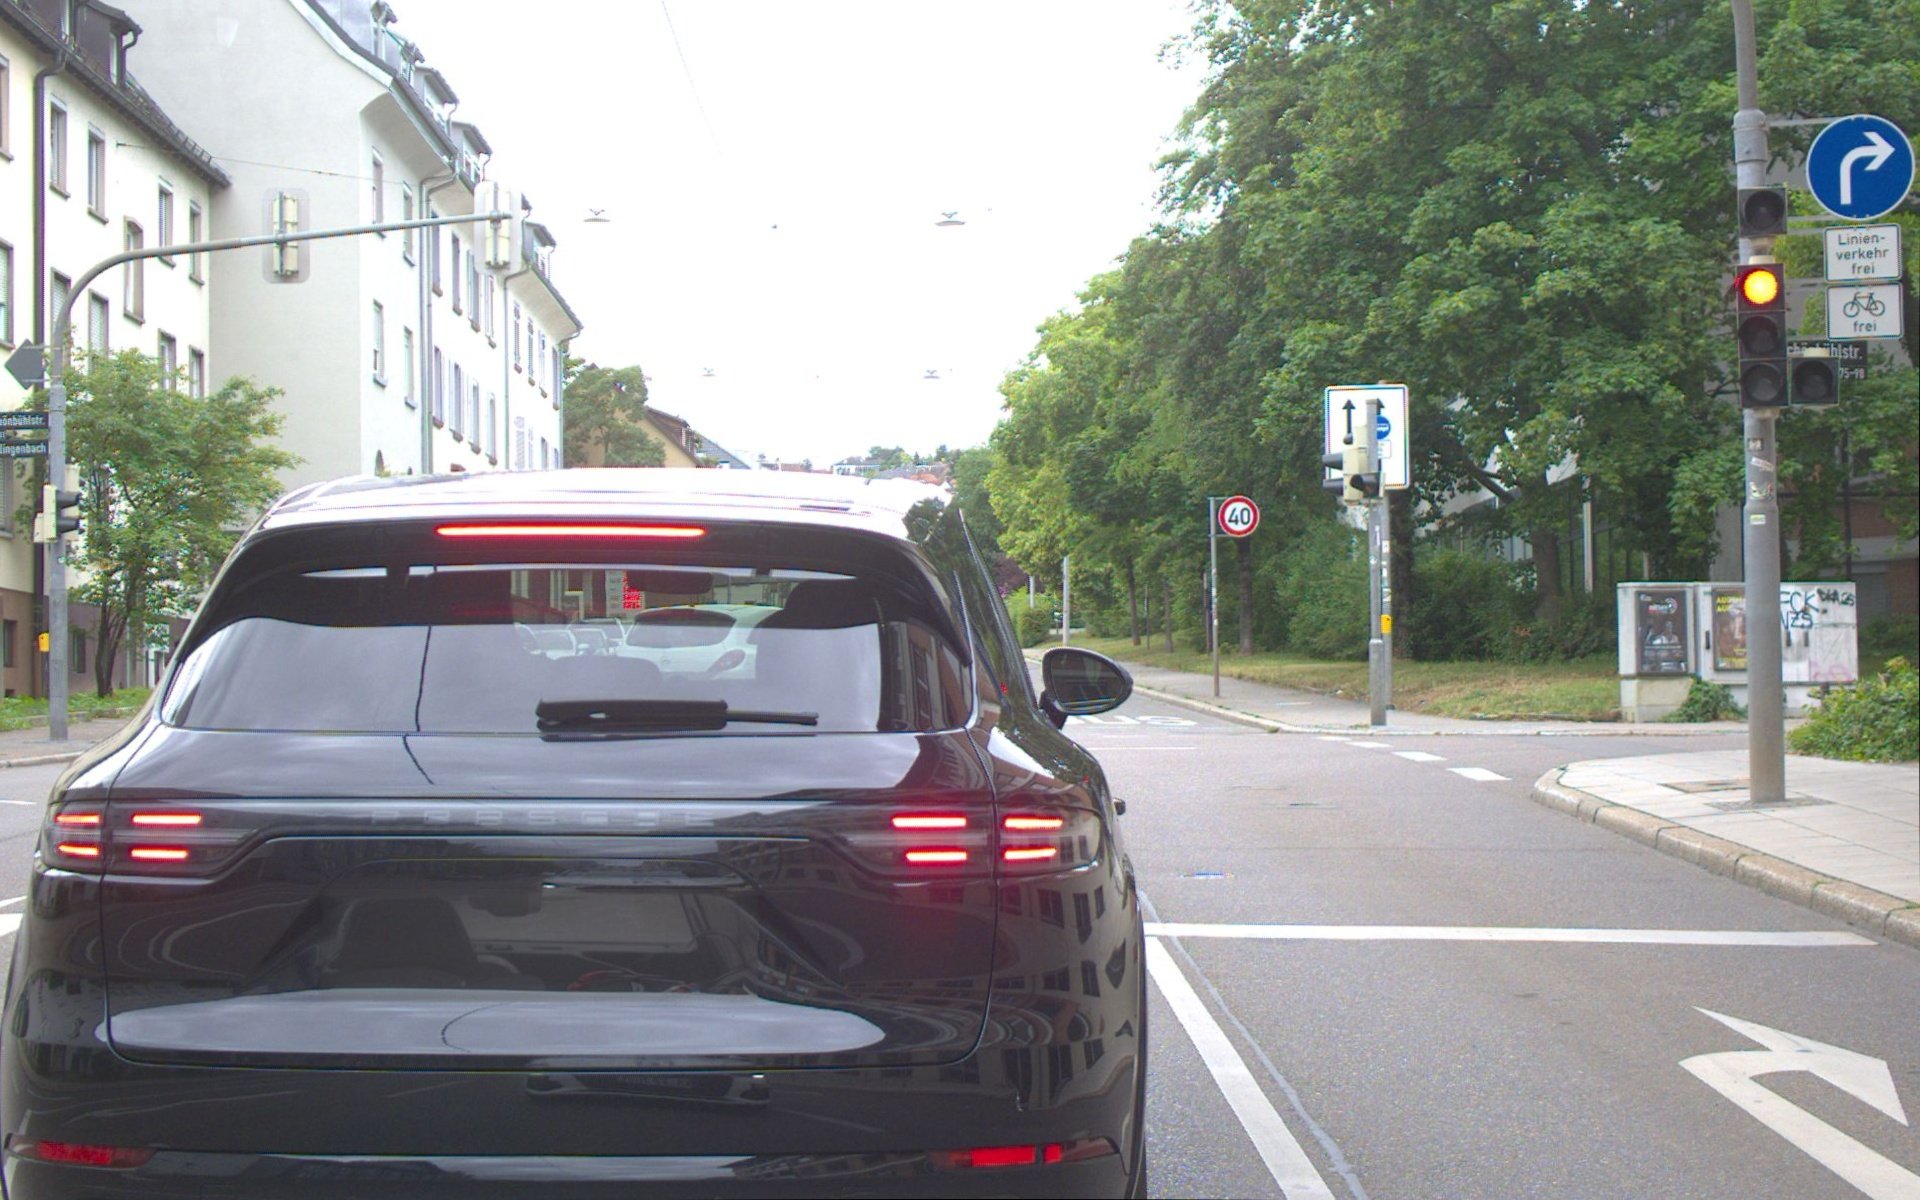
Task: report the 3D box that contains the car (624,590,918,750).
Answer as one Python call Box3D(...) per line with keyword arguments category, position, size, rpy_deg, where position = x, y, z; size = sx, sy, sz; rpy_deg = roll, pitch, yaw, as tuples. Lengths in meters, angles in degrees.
Box3D(category="car", position=(-1.921, 0.686, 36.129), size=(1.690, 1.547, 3.885), rpy_deg=(1, 1, 20))

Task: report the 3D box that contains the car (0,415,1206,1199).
Box3D(category="car", position=(-0.661, 0.559, 7.158), size=(1.993, 1.691, 4.000), rpy_deg=(1, 1, -1))

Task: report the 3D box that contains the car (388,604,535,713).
Box3D(category="car", position=(-7.772, 0.884, 53.885), size=(1.664, 1.514, 3.740), rpy_deg=(-4, 0, 0))
